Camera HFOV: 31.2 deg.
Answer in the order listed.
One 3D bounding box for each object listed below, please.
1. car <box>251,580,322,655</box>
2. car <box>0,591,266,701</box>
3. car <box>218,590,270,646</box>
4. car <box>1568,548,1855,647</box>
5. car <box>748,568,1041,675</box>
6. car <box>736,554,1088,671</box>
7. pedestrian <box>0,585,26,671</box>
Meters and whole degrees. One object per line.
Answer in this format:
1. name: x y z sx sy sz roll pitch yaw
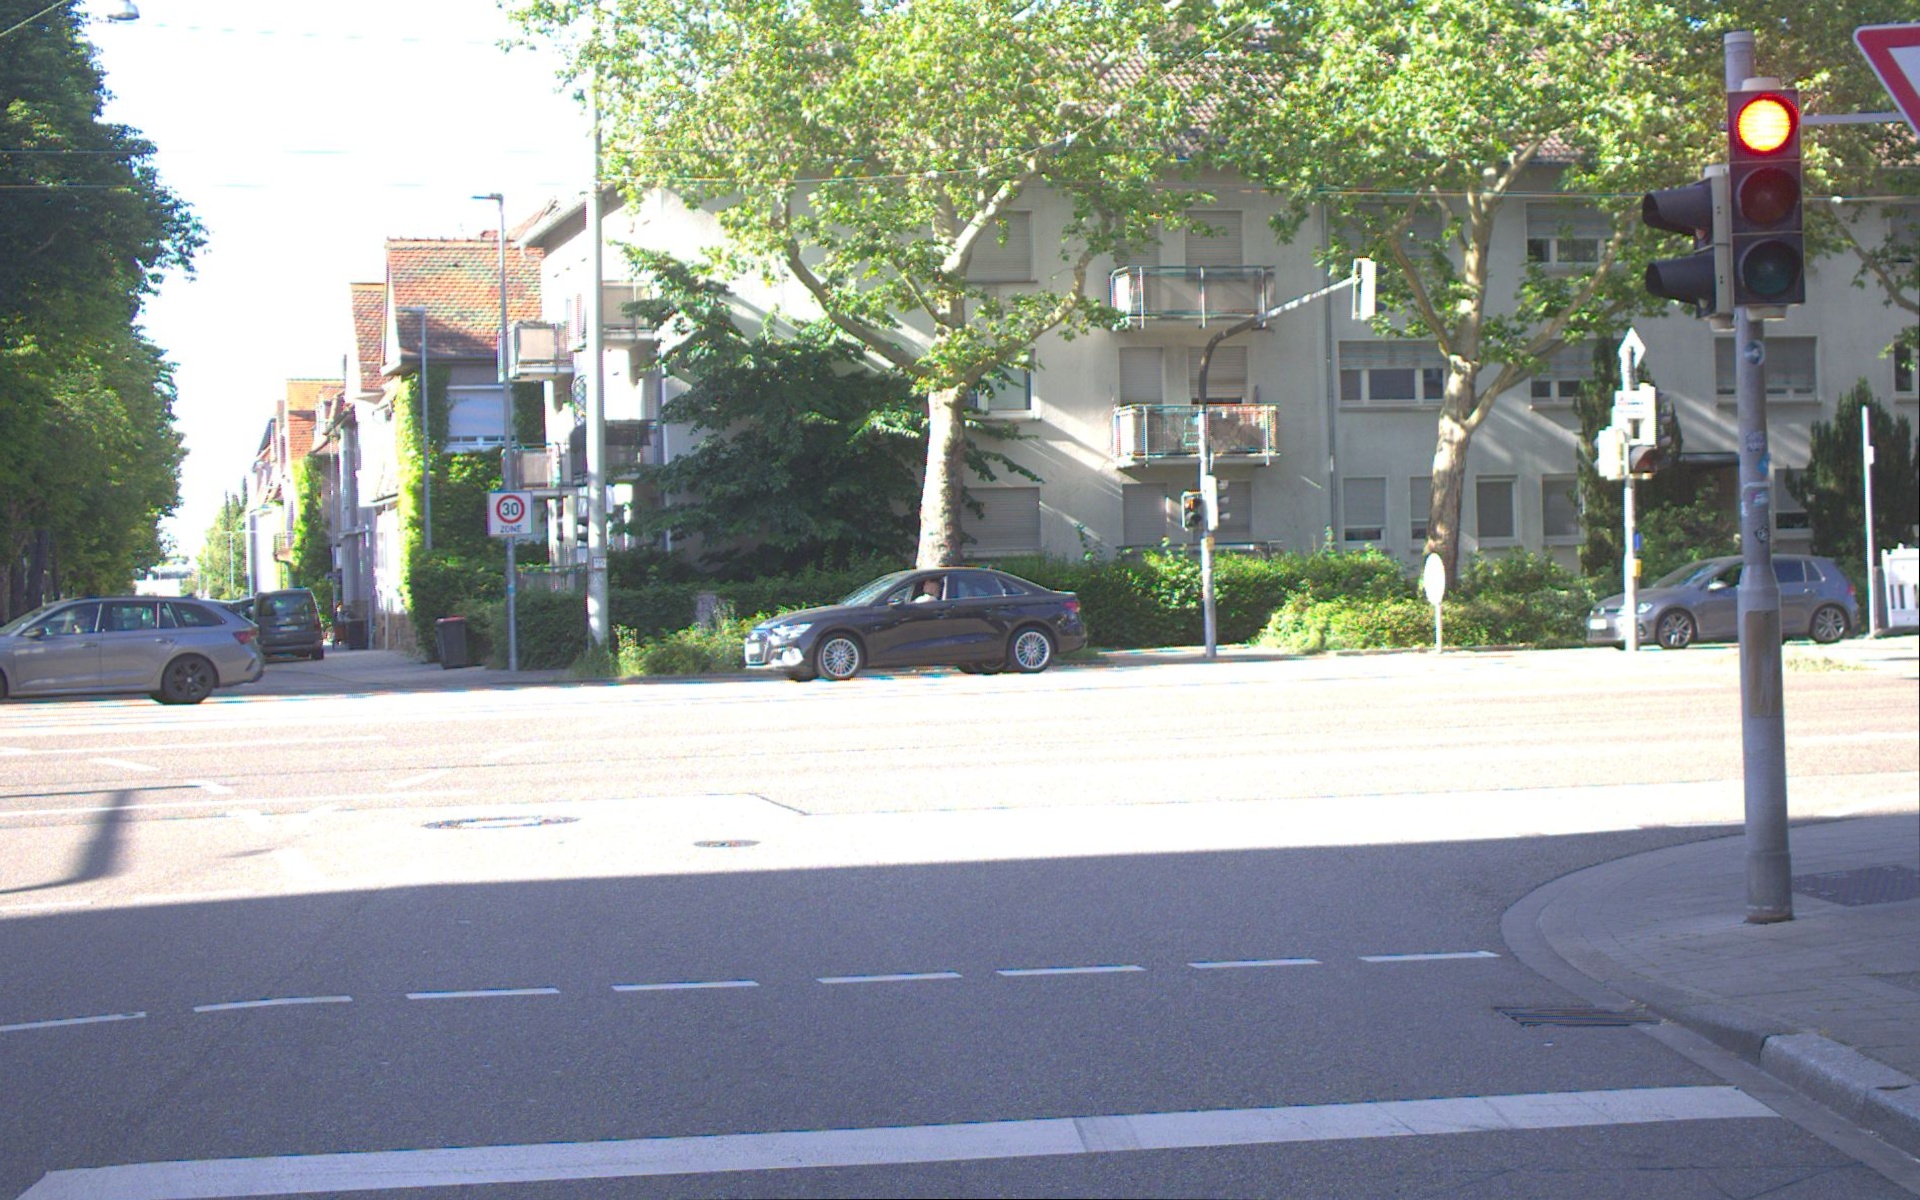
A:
1. car: -18.541 0.466 94.542 1.772 1.912 3.535 -3 1 -12
2. car: -11.380 0.589 44.752 4.385 1.312 1.646 -1 1 -20
3. car: -26.694 0.663 128.150 1.772 1.912 3.535 -3 1 -12
4. car: 11.457 -0.049 52.451 3.938 1.395 1.646 -1 1 -14
5. car: -0.925 0.290 48.630 3.780 1.395 1.646 -1 1 -21
6. car: -0.622 0.141 44.917 4.266 1.395 1.646 -1 1 -21
7. pedestrian: -16.153 0.466 58.060 0.703 1.437 0.490 1 0 -19
